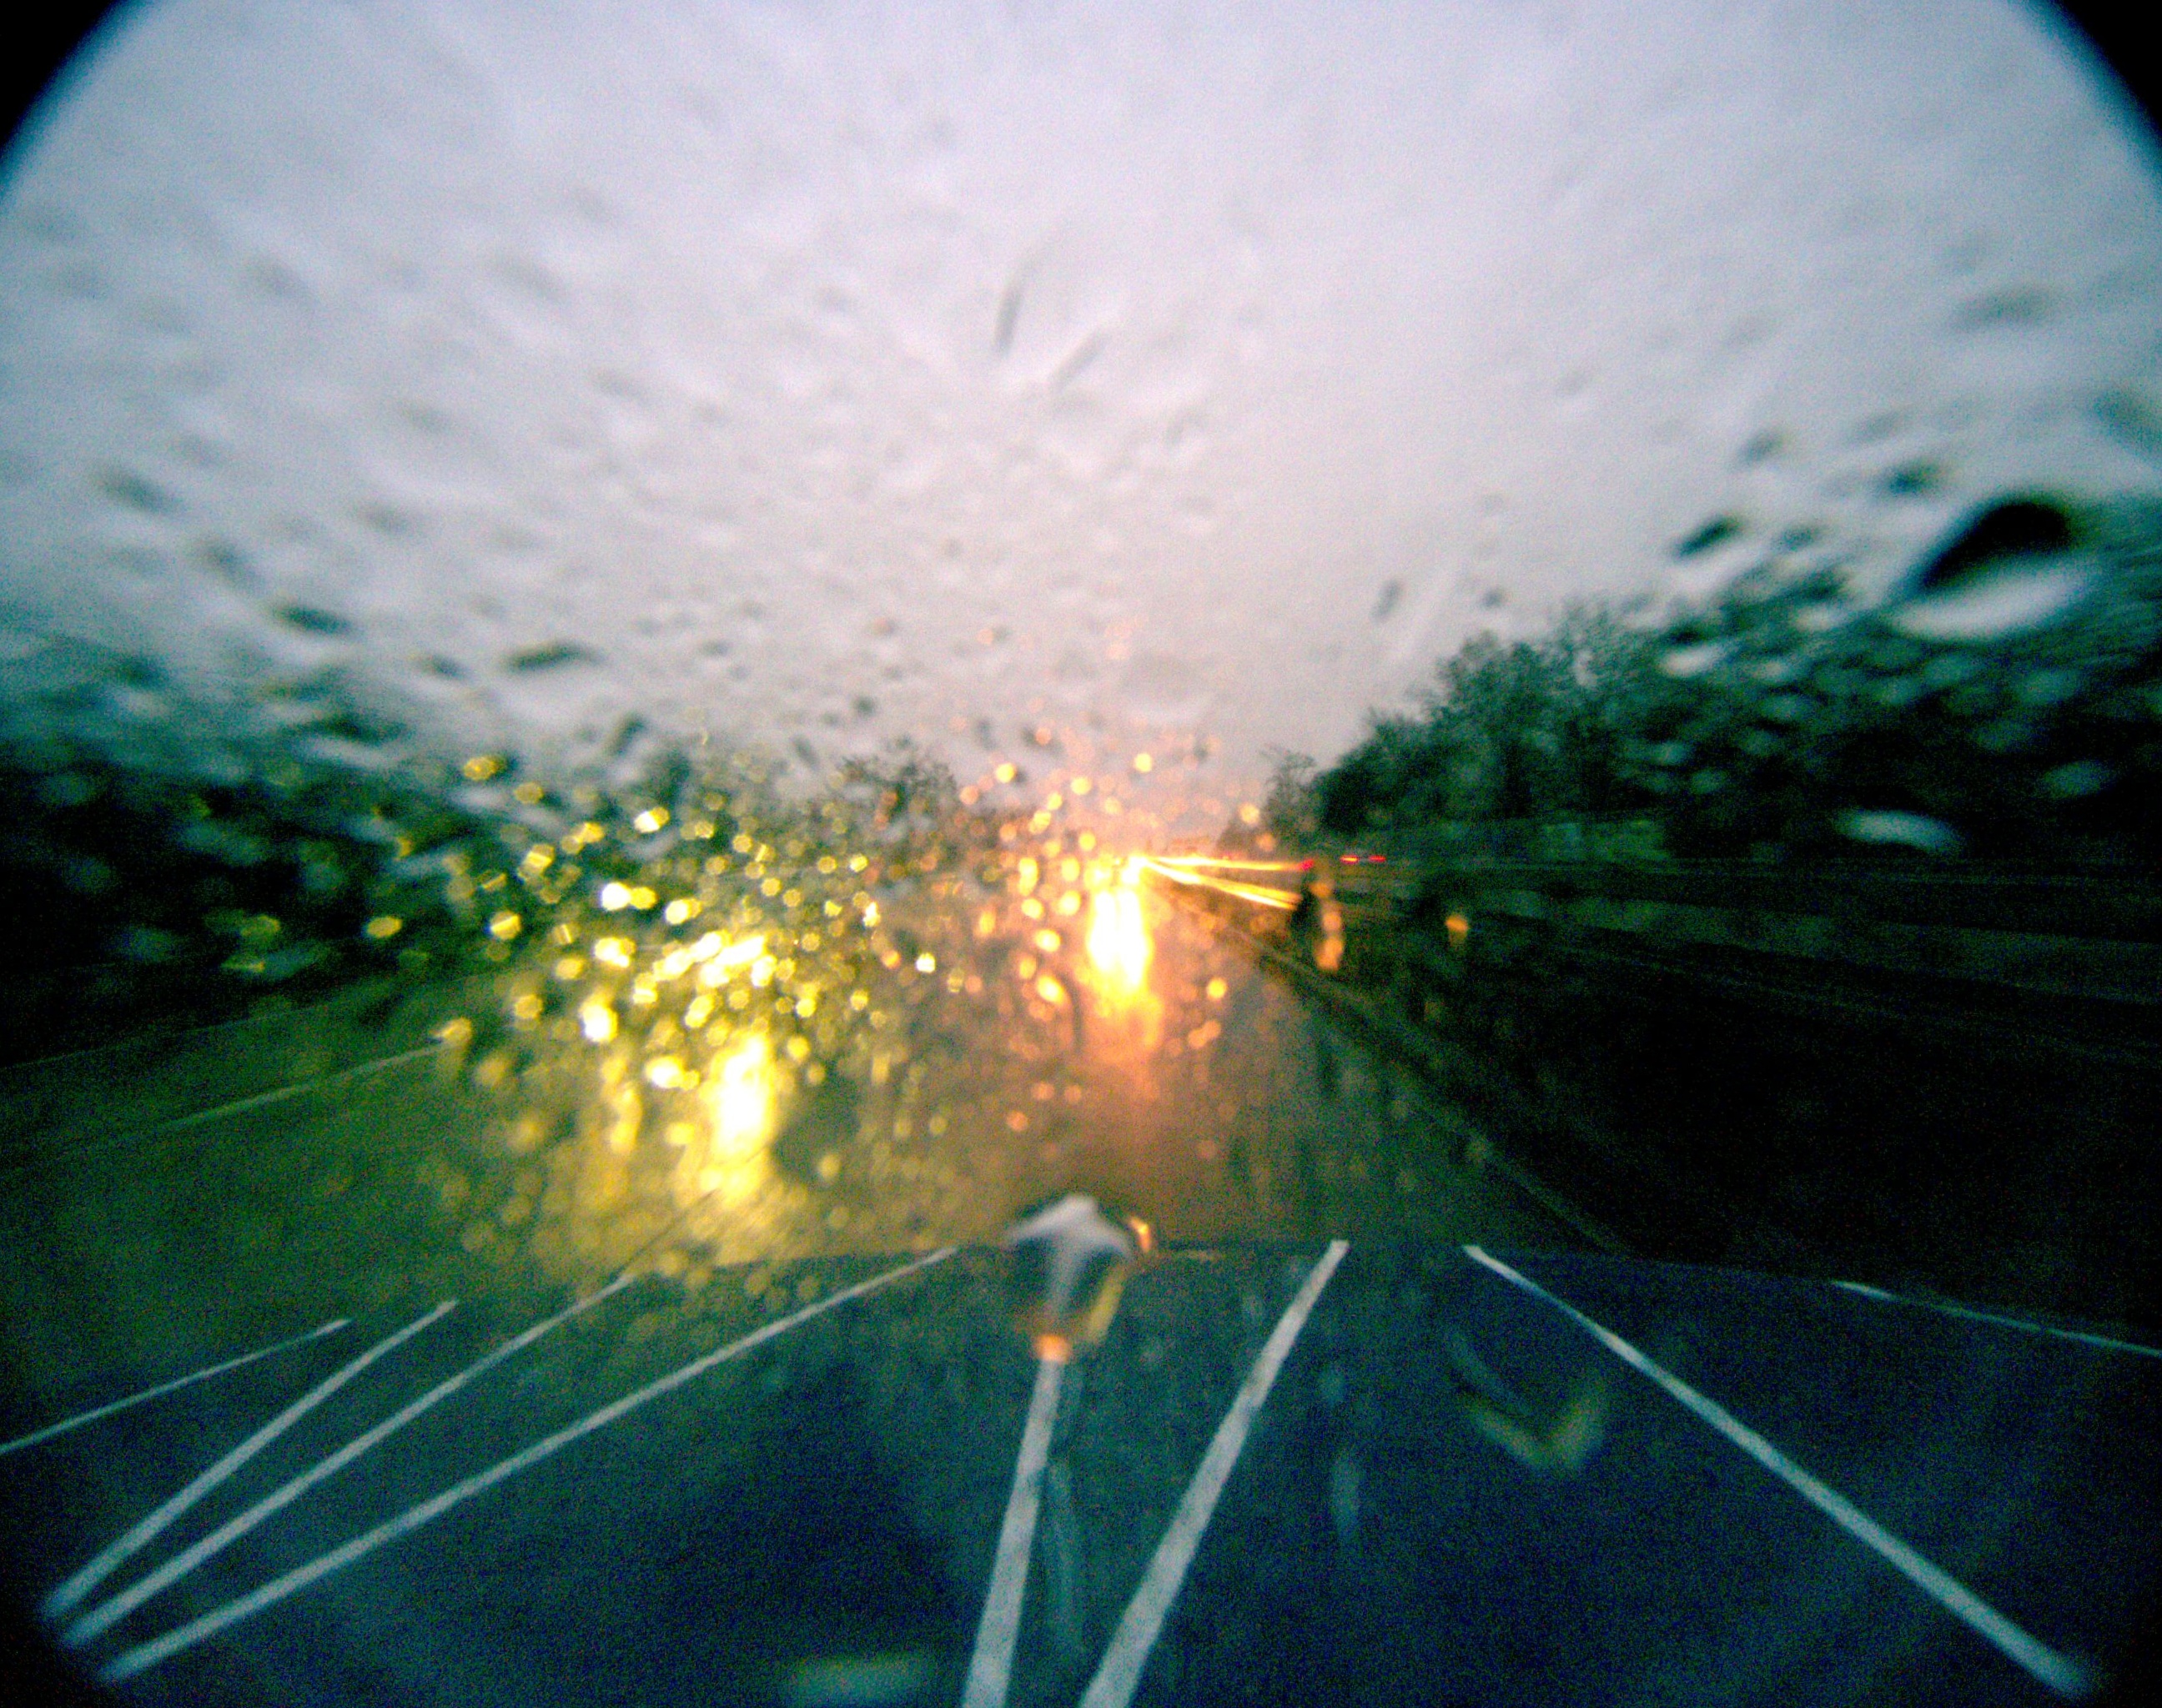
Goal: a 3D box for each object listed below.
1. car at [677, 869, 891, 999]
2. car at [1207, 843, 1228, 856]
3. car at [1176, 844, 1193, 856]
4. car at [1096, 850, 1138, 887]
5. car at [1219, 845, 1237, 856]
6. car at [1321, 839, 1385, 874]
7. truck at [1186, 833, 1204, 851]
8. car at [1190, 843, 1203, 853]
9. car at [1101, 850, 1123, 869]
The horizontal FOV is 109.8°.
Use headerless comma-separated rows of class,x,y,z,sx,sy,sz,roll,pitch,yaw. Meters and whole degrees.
car,-4.119,1.017,11.314,1.595,1.445,4.175,-2,0,-2
car,16.875,-0.523,94.229,1.998,1.505,4.284,-2,1,4
car,13.863,-0.548,101.651,1.869,1.473,4.672,-2,1,3
car,1.668,0.636,34.958,1.758,1.521,4.000,-2,1,4
car,21.917,-0.534,113.747,1.998,1.505,4.797,-2,1,4
car,13.253,0.095,37.297,1.731,1.598,4.179,-2,1,2
truck,24.875,-2.565,166.426,3.084,3.835,9.371,-2,1,5
car,20.702,-1.099,136.571,1.998,1.639,4.001,-2,1,4
car,2.708,0.430,65.292,1.758,1.521,4.000,-2,1,4
